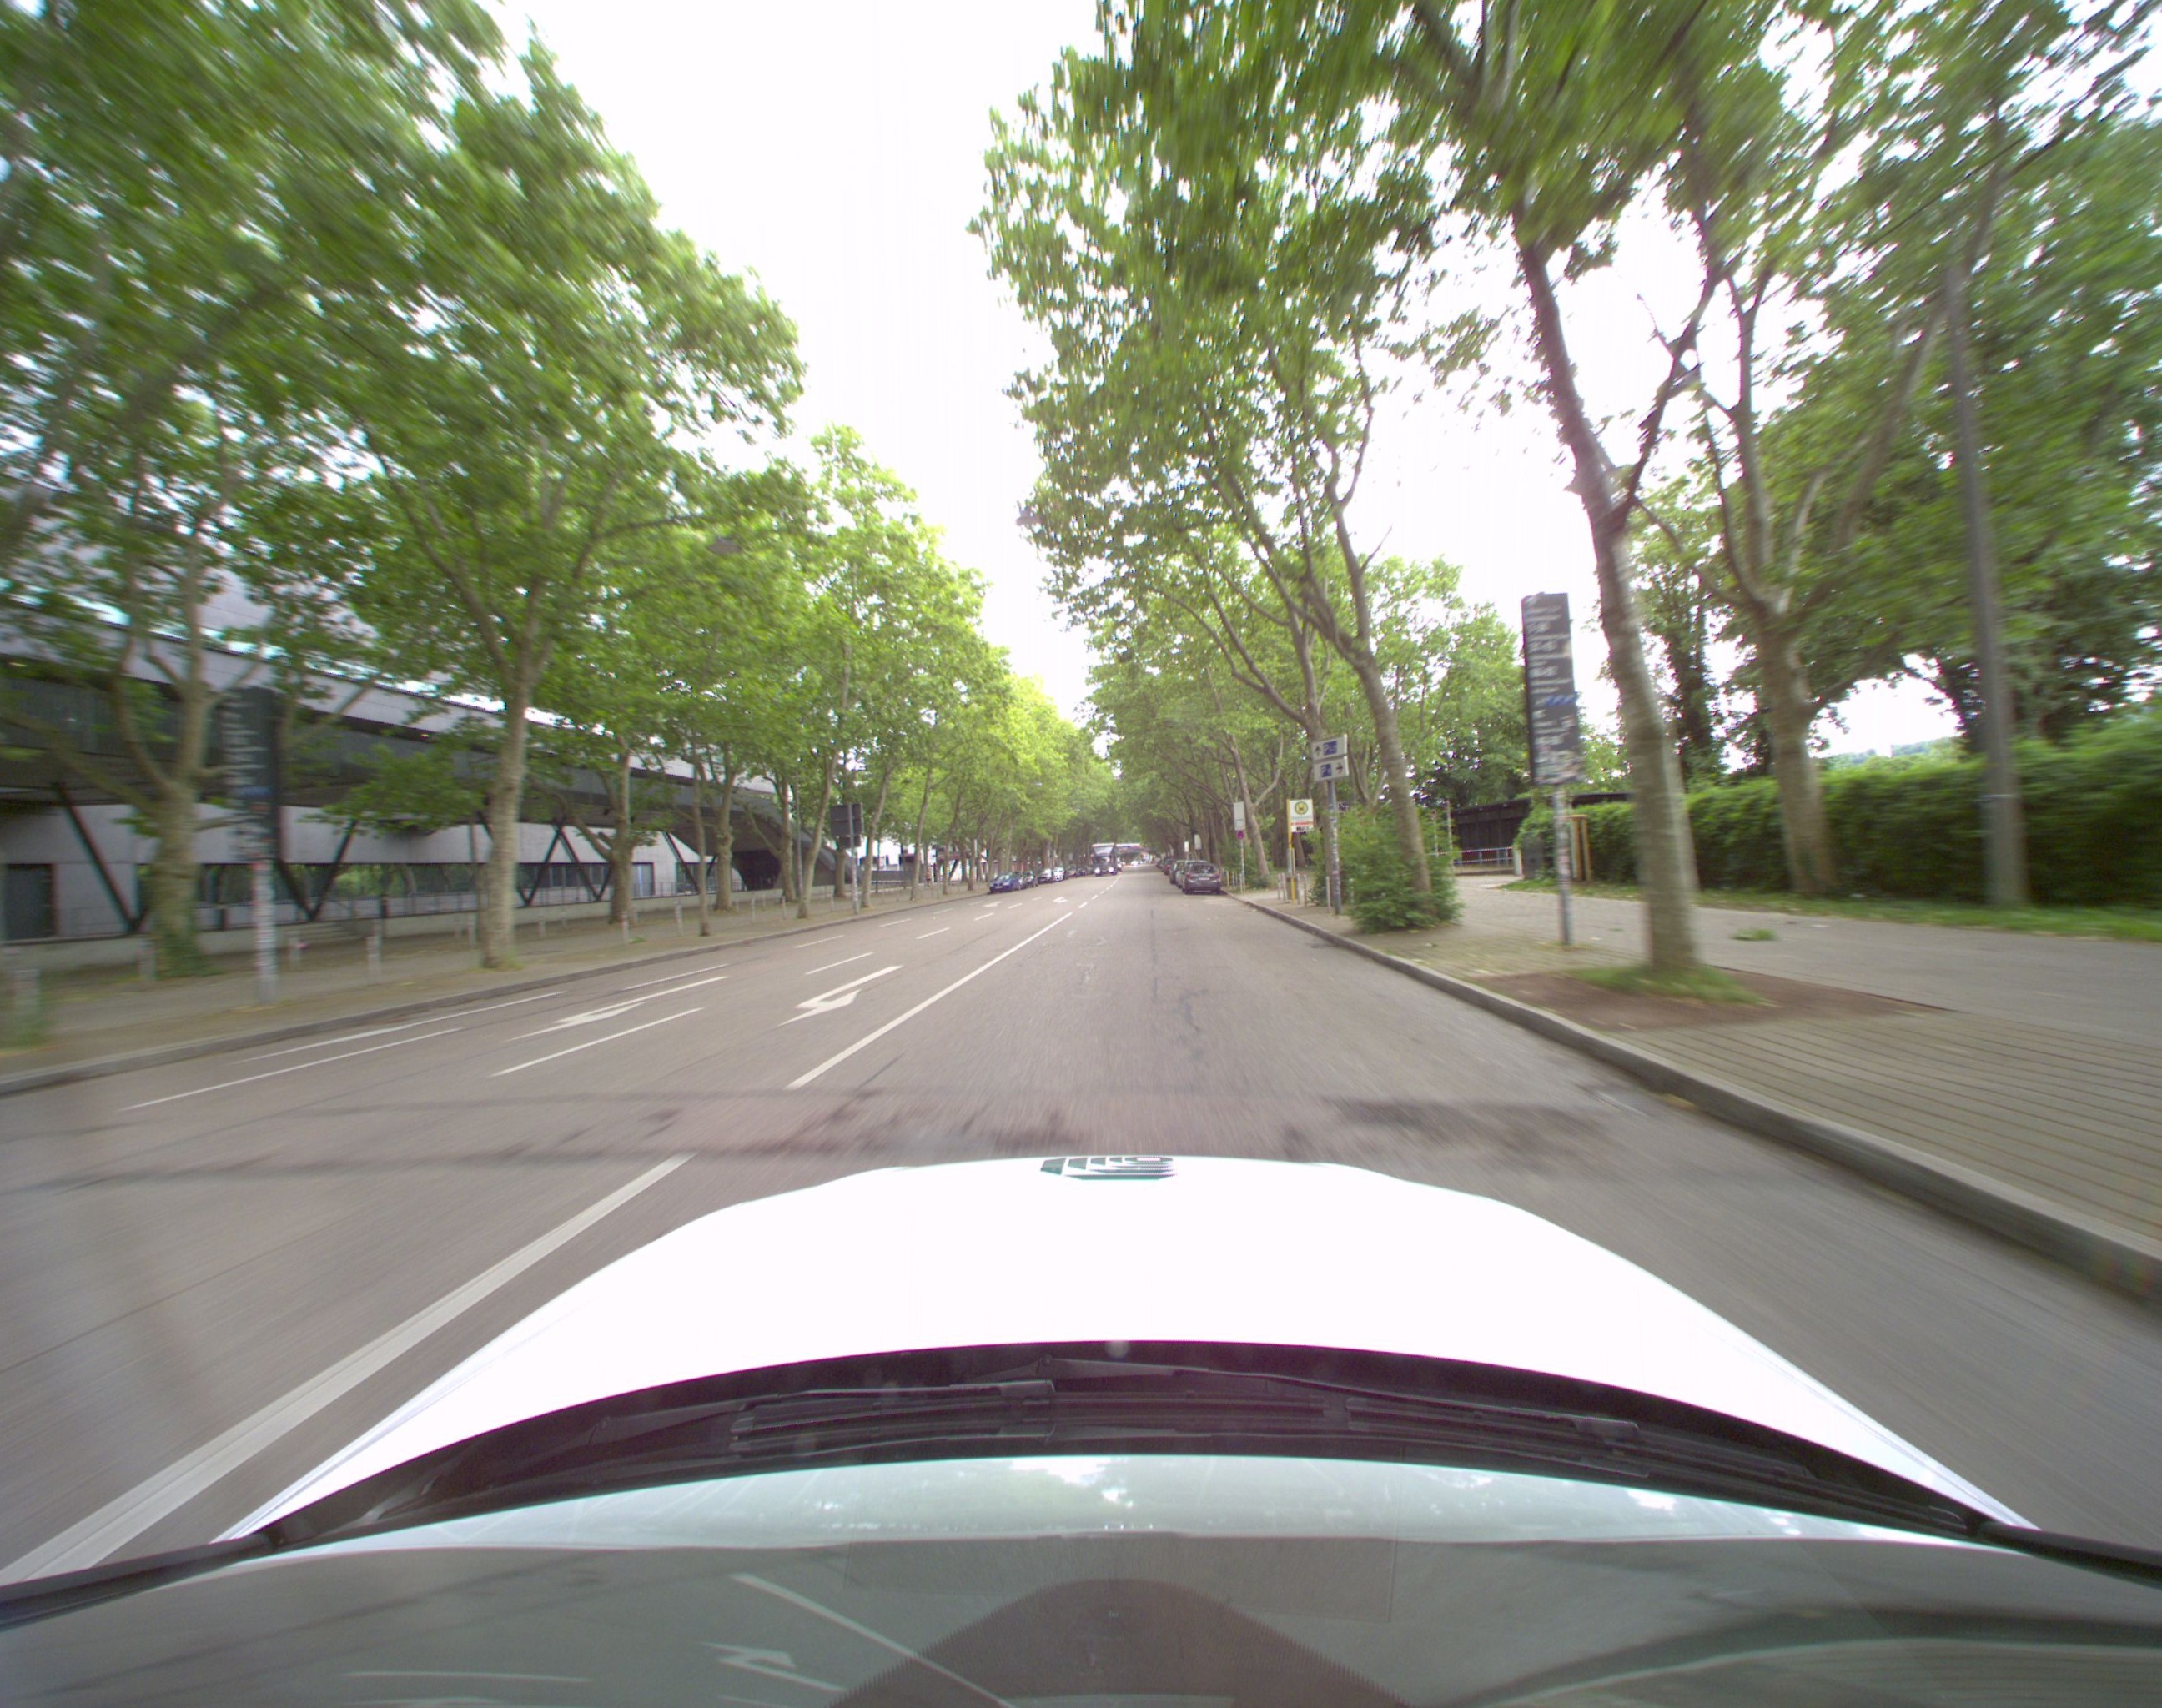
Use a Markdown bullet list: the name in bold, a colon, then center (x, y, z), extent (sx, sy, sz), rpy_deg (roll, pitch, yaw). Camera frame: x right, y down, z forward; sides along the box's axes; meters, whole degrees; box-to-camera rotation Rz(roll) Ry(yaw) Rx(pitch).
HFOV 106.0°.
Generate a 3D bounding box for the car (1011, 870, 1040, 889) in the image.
- **car**: center (-4.588, 2.117, 68.153), extent (1.758, 1.418, 3.765), rpy_deg (-6, -2, 4)

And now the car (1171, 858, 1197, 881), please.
- **car**: center (7.639, 1.124, 60.691), extent (1.748, 1.597, 3.933), rpy_deg (-1, -1, 4)

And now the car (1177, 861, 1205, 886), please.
- **car**: center (6.763, 1.183, 50.386), extent (1.667, 1.490, 3.693), rpy_deg (1, -1, 6)

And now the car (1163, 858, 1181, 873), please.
- **car**: center (10.211, 1.263, 91.713), extent (1.748, 1.534, 3.933), rpy_deg (-3, -1, 4)

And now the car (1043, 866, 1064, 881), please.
- **car**: center (-2.851, 2.069, 85.266), extent (1.725, 1.332, 4.004), rpy_deg (-4, -2, 4)

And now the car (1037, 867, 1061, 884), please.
- **car**: center (-3.053, 2.030, 77.987), extent (1.758, 1.418, 3.765), rpy_deg (-6, -2, 4)

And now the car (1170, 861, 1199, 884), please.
- **car**: center (6.939, 1.204, 55.012), extent (1.748, 1.490, 4.422), rpy_deg (1, -1, 4)

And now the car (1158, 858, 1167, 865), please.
- **car**: center (16.822, 1.575, 168.499), extent (1.748, 1.534, 3.933), rpy_deg (-1, -1, 4)

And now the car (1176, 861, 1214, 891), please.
- **car**: center (6.286, 1.174, 45.374), extent (1.712, 1.567, 4.096), rpy_deg (1, -1, 3)

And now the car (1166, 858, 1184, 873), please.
- **car**: center (9.883, 1.195, 85.791), extent (1.748, 1.534, 3.933), rpy_deg (-1, -1, 4)

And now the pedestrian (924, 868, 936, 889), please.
- **pedestrian**: center (-13.363, 2.170, 72.030), extent (0.774, 1.835, 0.870), rpy_deg (-2, -1, -30)

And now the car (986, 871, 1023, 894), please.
- **car**: center (-5.472, 2.032, 58.661), extent (1.685, 1.418, 3.770), rpy_deg (-6, -2, 9)

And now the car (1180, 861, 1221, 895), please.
- **car**: center (5.754, 1.106, 39.660), extent (1.691, 1.519, 4.459), rpy_deg (1, 0, 4)

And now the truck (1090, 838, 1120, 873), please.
- **truck**: center (3.046, 0.205, 100.501), extent (2.627, 3.901, 9.558), rpy_deg (-4, -1, 7)

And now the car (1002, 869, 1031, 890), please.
- **car**: center (-5.006, 2.009, 63.420), extent (1.759, 1.418, 3.762), rpy_deg (-6, -2, 1)

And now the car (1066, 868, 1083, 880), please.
- **car**: center (-0.850, 2.611, 105.259), extent (1.887, 1.438, 4.002), rpy_deg (-4, -2, 3)

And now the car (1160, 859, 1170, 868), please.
- **car**: center (15.074, 1.689, 146.325), extent (1.748, 1.534, 3.933), rpy_deg (-4, -1, 4)

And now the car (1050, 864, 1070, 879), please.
- **car**: center (-2.305, 1.953, 90.965), extent (1.887, 1.438, 4.002), rpy_deg (-4, -2, 3)

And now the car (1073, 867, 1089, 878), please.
- **car**: center (0.023, 2.680, 117.709), extent (1.887, 1.438, 4.002), rpy_deg (-4, -2, 3)
